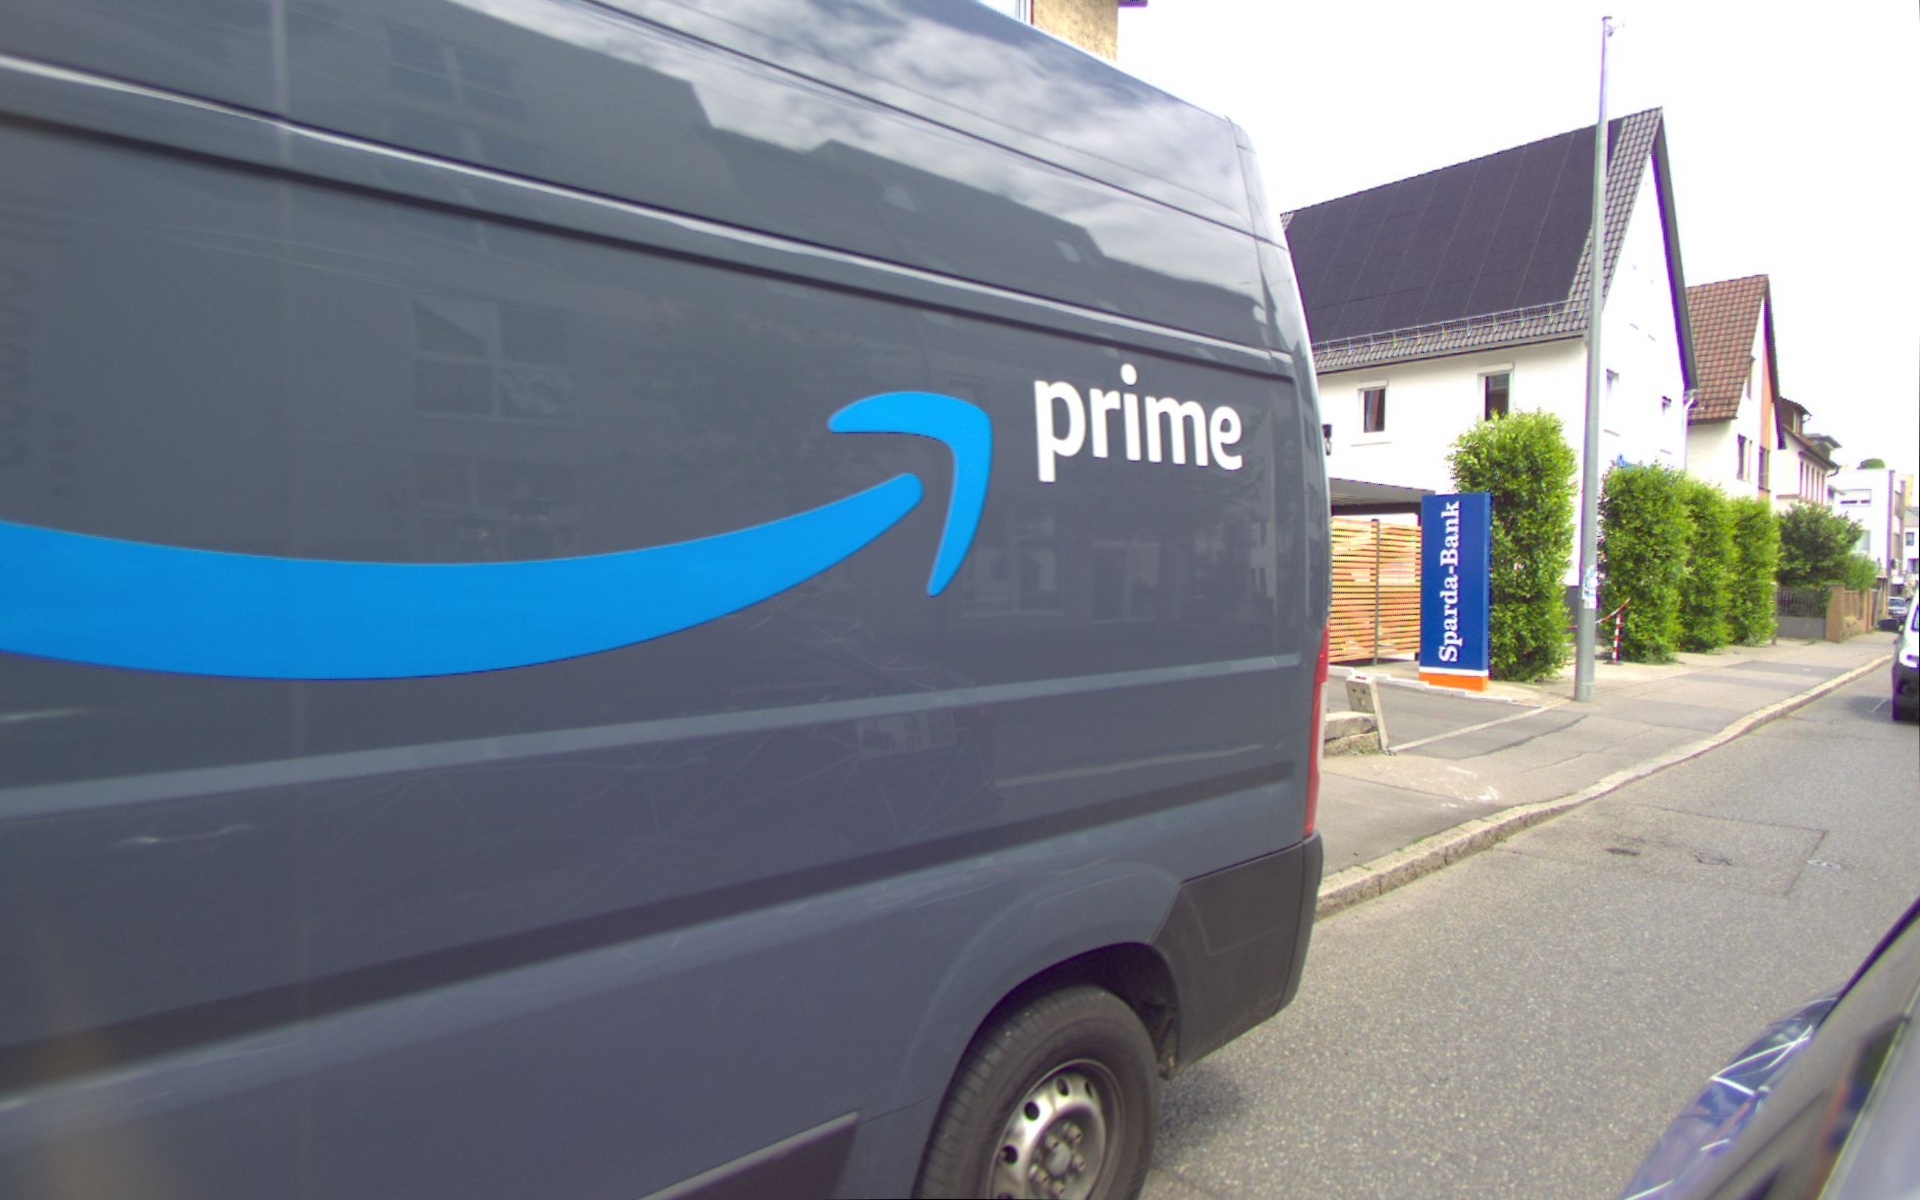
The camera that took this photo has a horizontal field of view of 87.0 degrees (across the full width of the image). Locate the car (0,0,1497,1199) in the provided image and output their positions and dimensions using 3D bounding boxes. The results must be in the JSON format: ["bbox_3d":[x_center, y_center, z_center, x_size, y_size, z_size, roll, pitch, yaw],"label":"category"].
[{"bbox_3d":[-1.670,0.072,1.587,6.135,2.805,2.153,0,1,-38],"label":"car"}]

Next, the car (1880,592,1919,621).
[{"bbox_3d":[49.657,0.335,53.220,3.935,1.438,1.653,0,2,-45],"label":"car"}]

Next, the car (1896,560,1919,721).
[{"bbox_3d":[13.280,0.446,12.640,4.920,1.838,1.869,-1,1,-42],"label":"car"}]
